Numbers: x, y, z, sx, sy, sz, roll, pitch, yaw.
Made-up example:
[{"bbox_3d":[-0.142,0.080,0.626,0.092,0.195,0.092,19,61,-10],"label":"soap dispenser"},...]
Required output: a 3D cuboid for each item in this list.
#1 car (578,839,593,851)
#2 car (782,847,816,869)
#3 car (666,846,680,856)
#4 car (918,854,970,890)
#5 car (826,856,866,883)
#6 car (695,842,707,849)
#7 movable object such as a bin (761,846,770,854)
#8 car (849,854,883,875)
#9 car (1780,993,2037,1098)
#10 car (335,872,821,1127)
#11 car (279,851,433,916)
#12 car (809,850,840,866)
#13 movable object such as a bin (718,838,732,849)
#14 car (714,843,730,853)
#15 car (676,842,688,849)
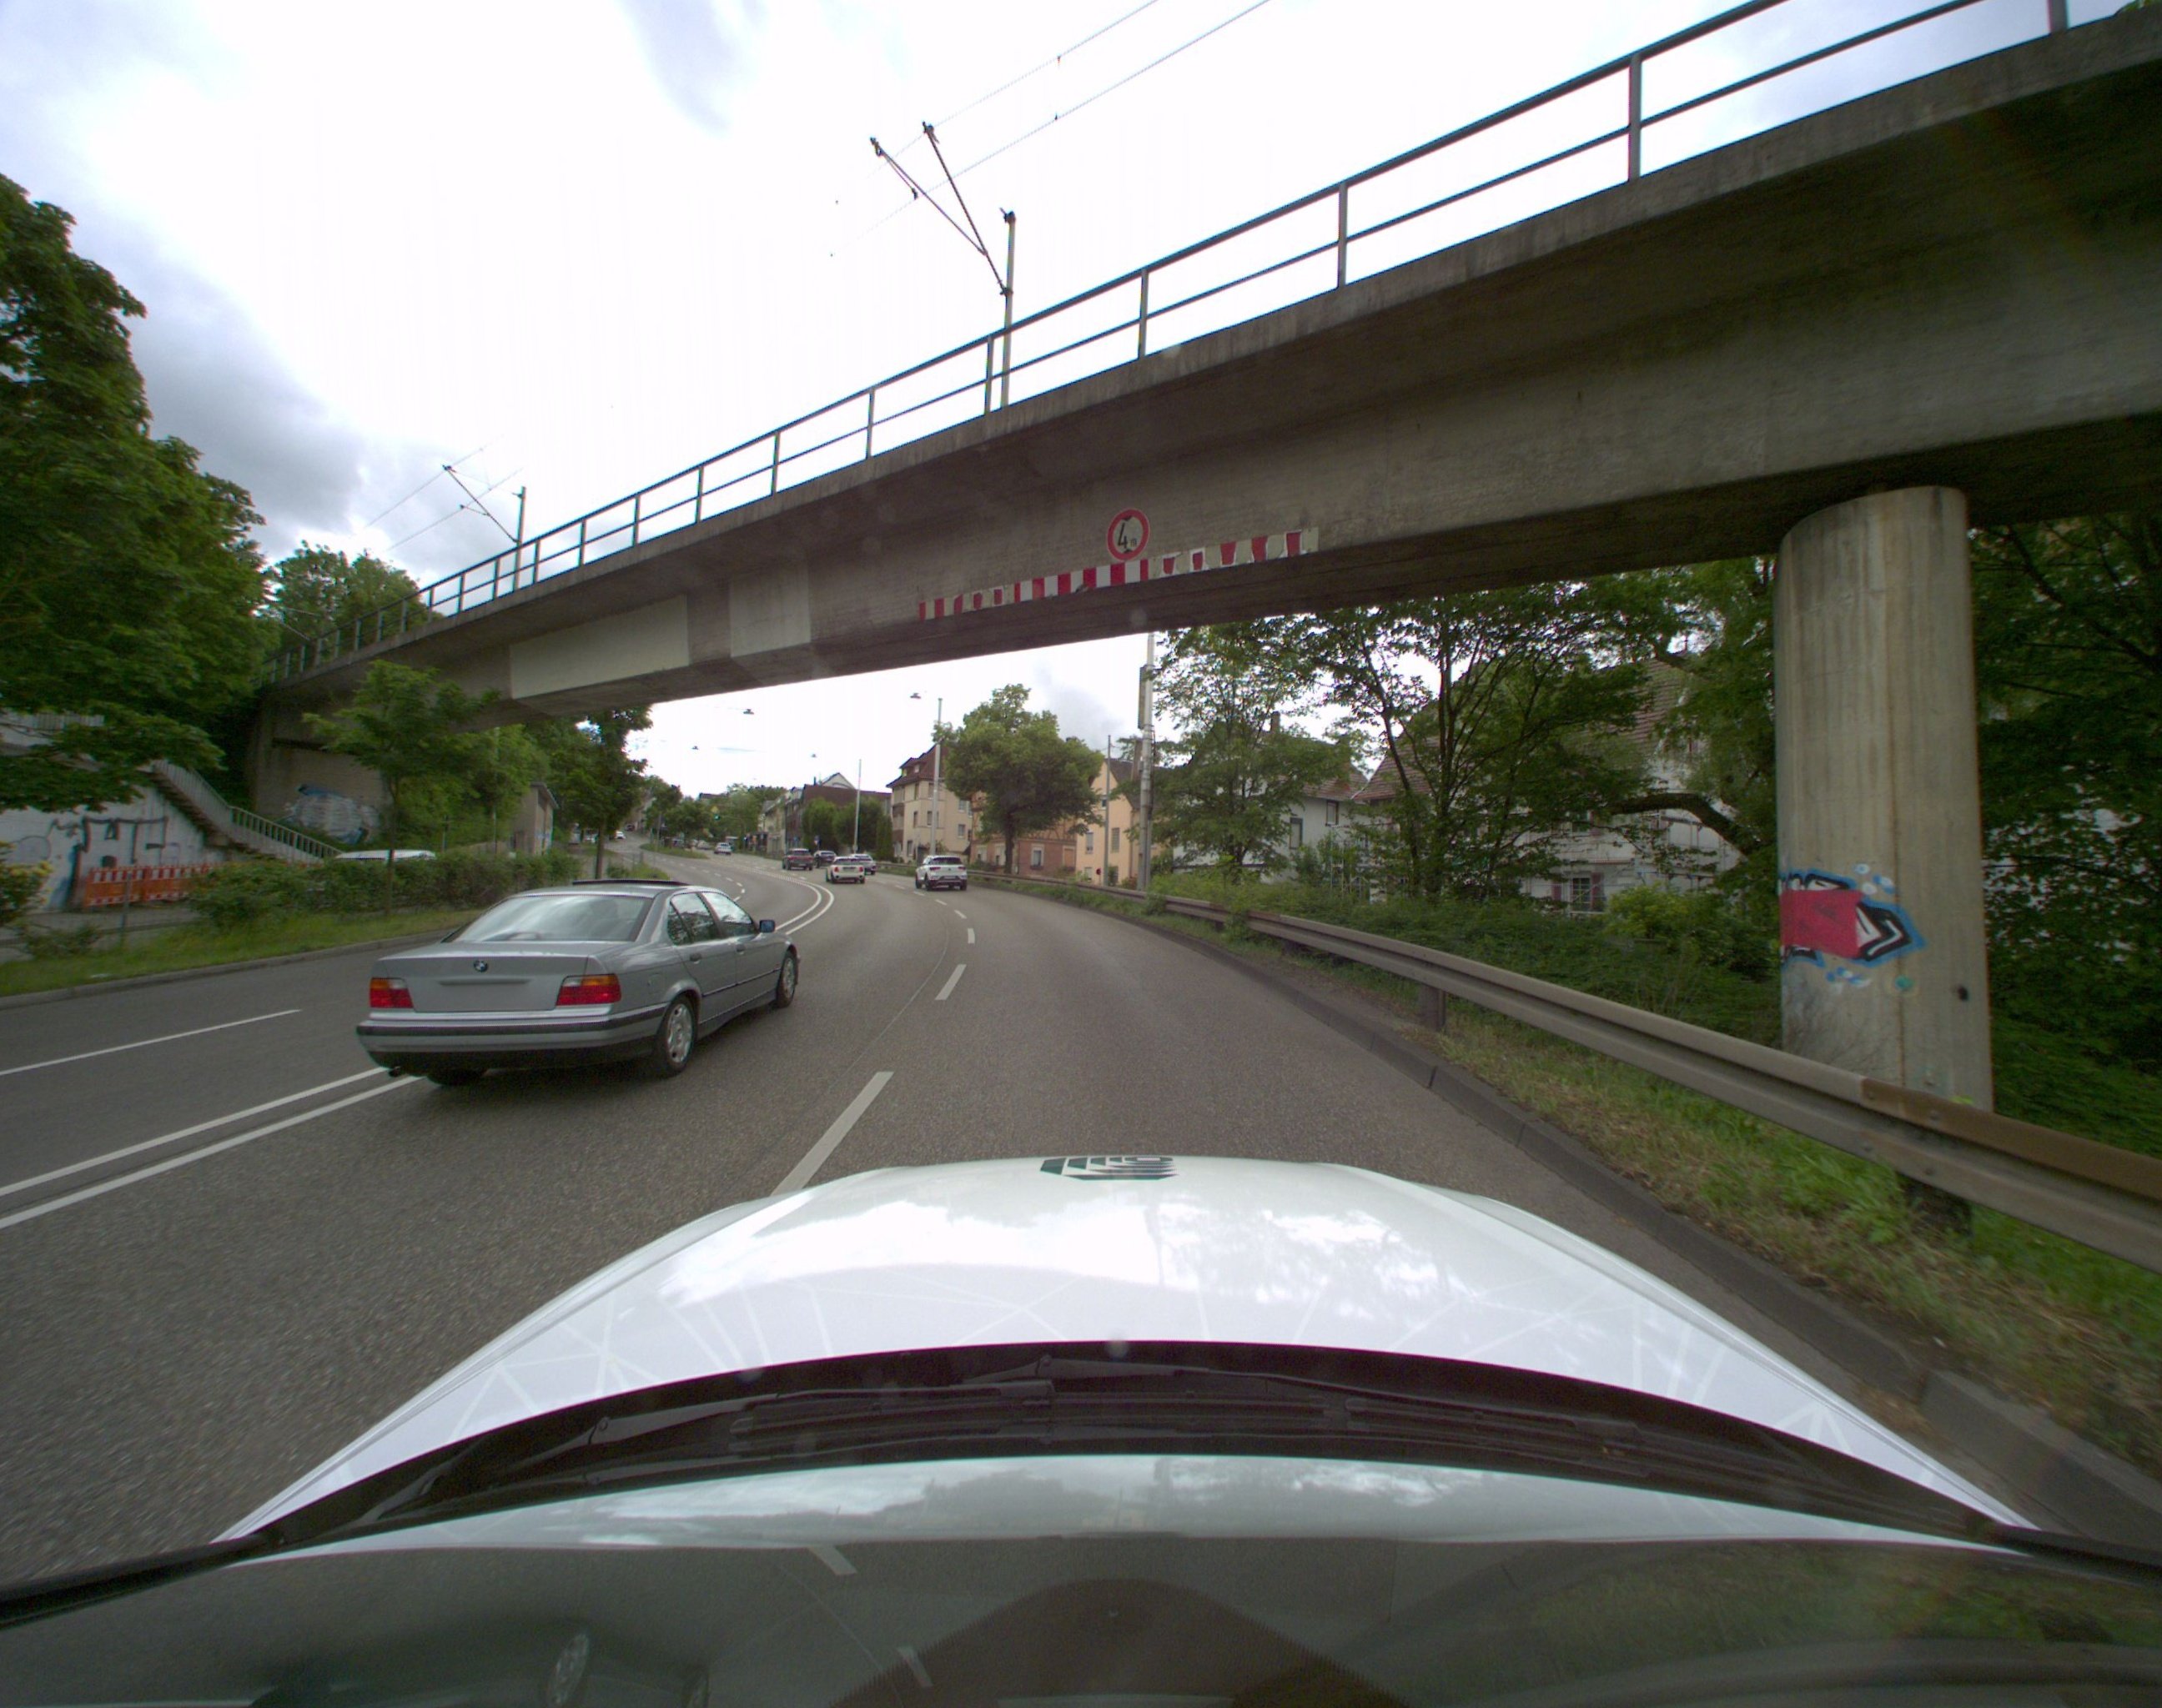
[{"bbox_3d":[-78.227,-1.465,128.617,1.872,1.670,4.236,5,-1,-32],"label":"car"},{"bbox_3d":[-21.641,0.307,62.431,1.735,1.640,3.421,0,0,-33],"label":"car"},{"bbox_3d":[-68.435,-0.505,136.686,1.735,1.583,3.421,0,0,-33],"label":"car"},{"bbox_3d":[-6.214,0.779,36.674,1.802,1.519,3.434,0,0,-19],"label":"car"},{"bbox_3d":[-12.685,0.818,43.790,1.729,1.376,3.431,0,0,-22],"label":"car"},{"bbox_3d":[-71.573,-1.627,153.337,1.734,1.376,3.422,0,0,-31],"label":"car"},{"bbox_3d":[-59.065,-0.815,152.465,1.203,1.408,0.704,5,-2,-31],"label":"movable object such as a bin"},{"bbox_3d":[-15.126,0.717,57.201,1.731,1.376,3.428,0,0,-25],"label":"car"},{"bbox_3d":[19.314,4.377,19.186,1.630,1.448,3.987,4,-1,-35],"label":"car"},{"bbox_3d":[-3.695,0.899,7.119,1.631,1.383,4.613,-1,0,-4],"label":"car"},{"bbox_3d":[-22.152,0.814,25.127,1.770,1.785,4.440,-1,1,-17],"label":"car"},{"bbox_3d":[-21.868,0.330,69.310,1.734,1.376,3.422,0,0,-32],"label":"car"},{"bbox_3d":[-66.229,-1.930,151.510,1.907,1.870,1.511,5,-2,-39],"label":"movable object such as a bin"},{"bbox_3d":[-50.367,-0.774,114.193,1.734,1.376,3.422,0,0,-31],"label":"car"},{"bbox_3d":[-75.297,-1.574,153.837,1.734,1.376,3.422,0,0,-31],"label":"car"}]
